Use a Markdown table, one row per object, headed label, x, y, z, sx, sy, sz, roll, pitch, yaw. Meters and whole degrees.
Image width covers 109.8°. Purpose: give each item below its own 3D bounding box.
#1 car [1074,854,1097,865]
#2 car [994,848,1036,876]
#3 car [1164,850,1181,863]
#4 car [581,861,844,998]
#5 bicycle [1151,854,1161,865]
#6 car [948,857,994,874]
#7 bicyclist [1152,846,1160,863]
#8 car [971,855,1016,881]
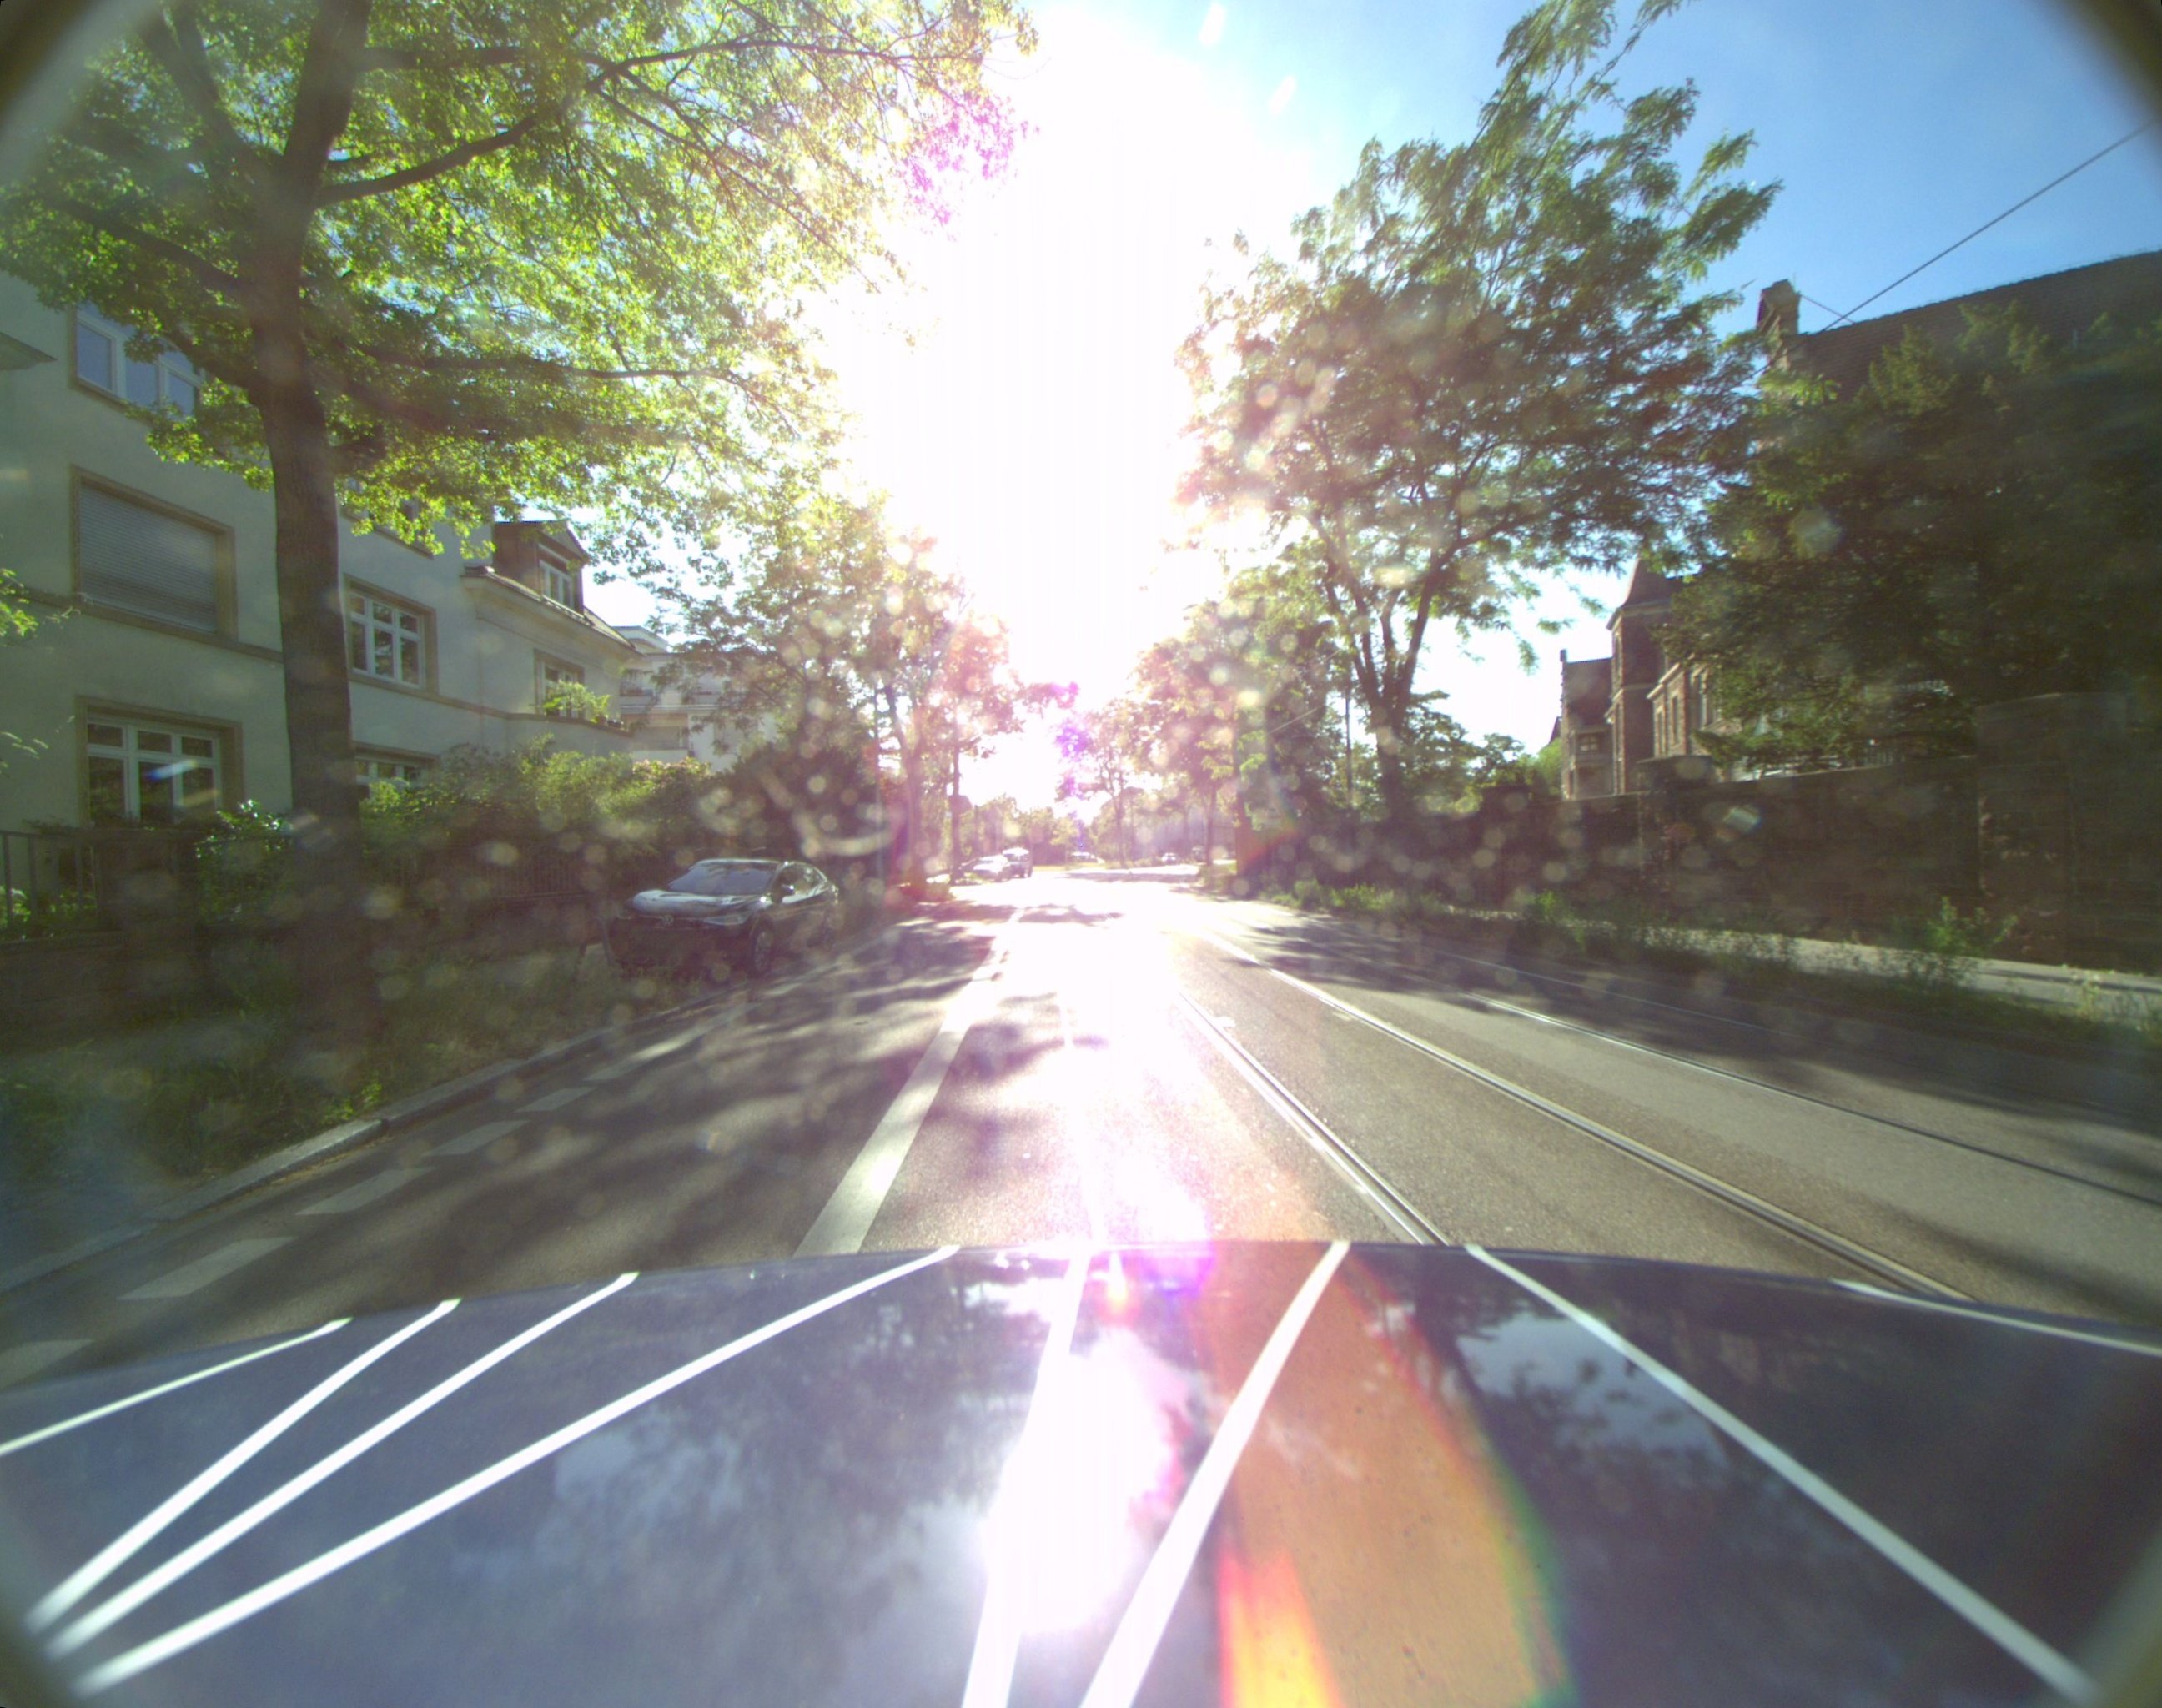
| label | x | y | z | sx | sy | sz | roll | pitch | yaw |
| --- | --- | --- | --- | --- | --- | --- | --- | --- | --- |
| car | 0.734 | 0.931 | 128.789 | 3.908 | 1.683 | 1.905 | -1 | 0 | -1 |
| car | -4.415 | 0.511 | 51.689 | 1.900 | 1.775 | 4.670 | -1 | 0 | 6 |
| car | 11.898 | 0.329 | 98.722 | 1.997 | 1.539 | 4.002 | -2 | 0 | 8 |
| car | -5.208 | 0.948 | 11.507 | 1.919 | 1.590 | 4.258 | 2 | 0 | -1 |
| bicycle | 7.587 | 0.540 | 76.517 | 0.588 | 1.105 | 1.857 | -1 | 0 | 19 |
| car | -10.056 | 1.051 | 69.538 | 3.998 | 1.433 | 1.813 | -2 | 0 | -3 |
| bicyclist | 7.555 | 0.073 | 76.463 | 0.643 | 1.632 | 0.666 | -2 | 1 | 19 |
| car | -5.177 | 0.798 | 45.333 | 1.901 | 1.402 | 4.260 | -1 | 0 | 4 |
